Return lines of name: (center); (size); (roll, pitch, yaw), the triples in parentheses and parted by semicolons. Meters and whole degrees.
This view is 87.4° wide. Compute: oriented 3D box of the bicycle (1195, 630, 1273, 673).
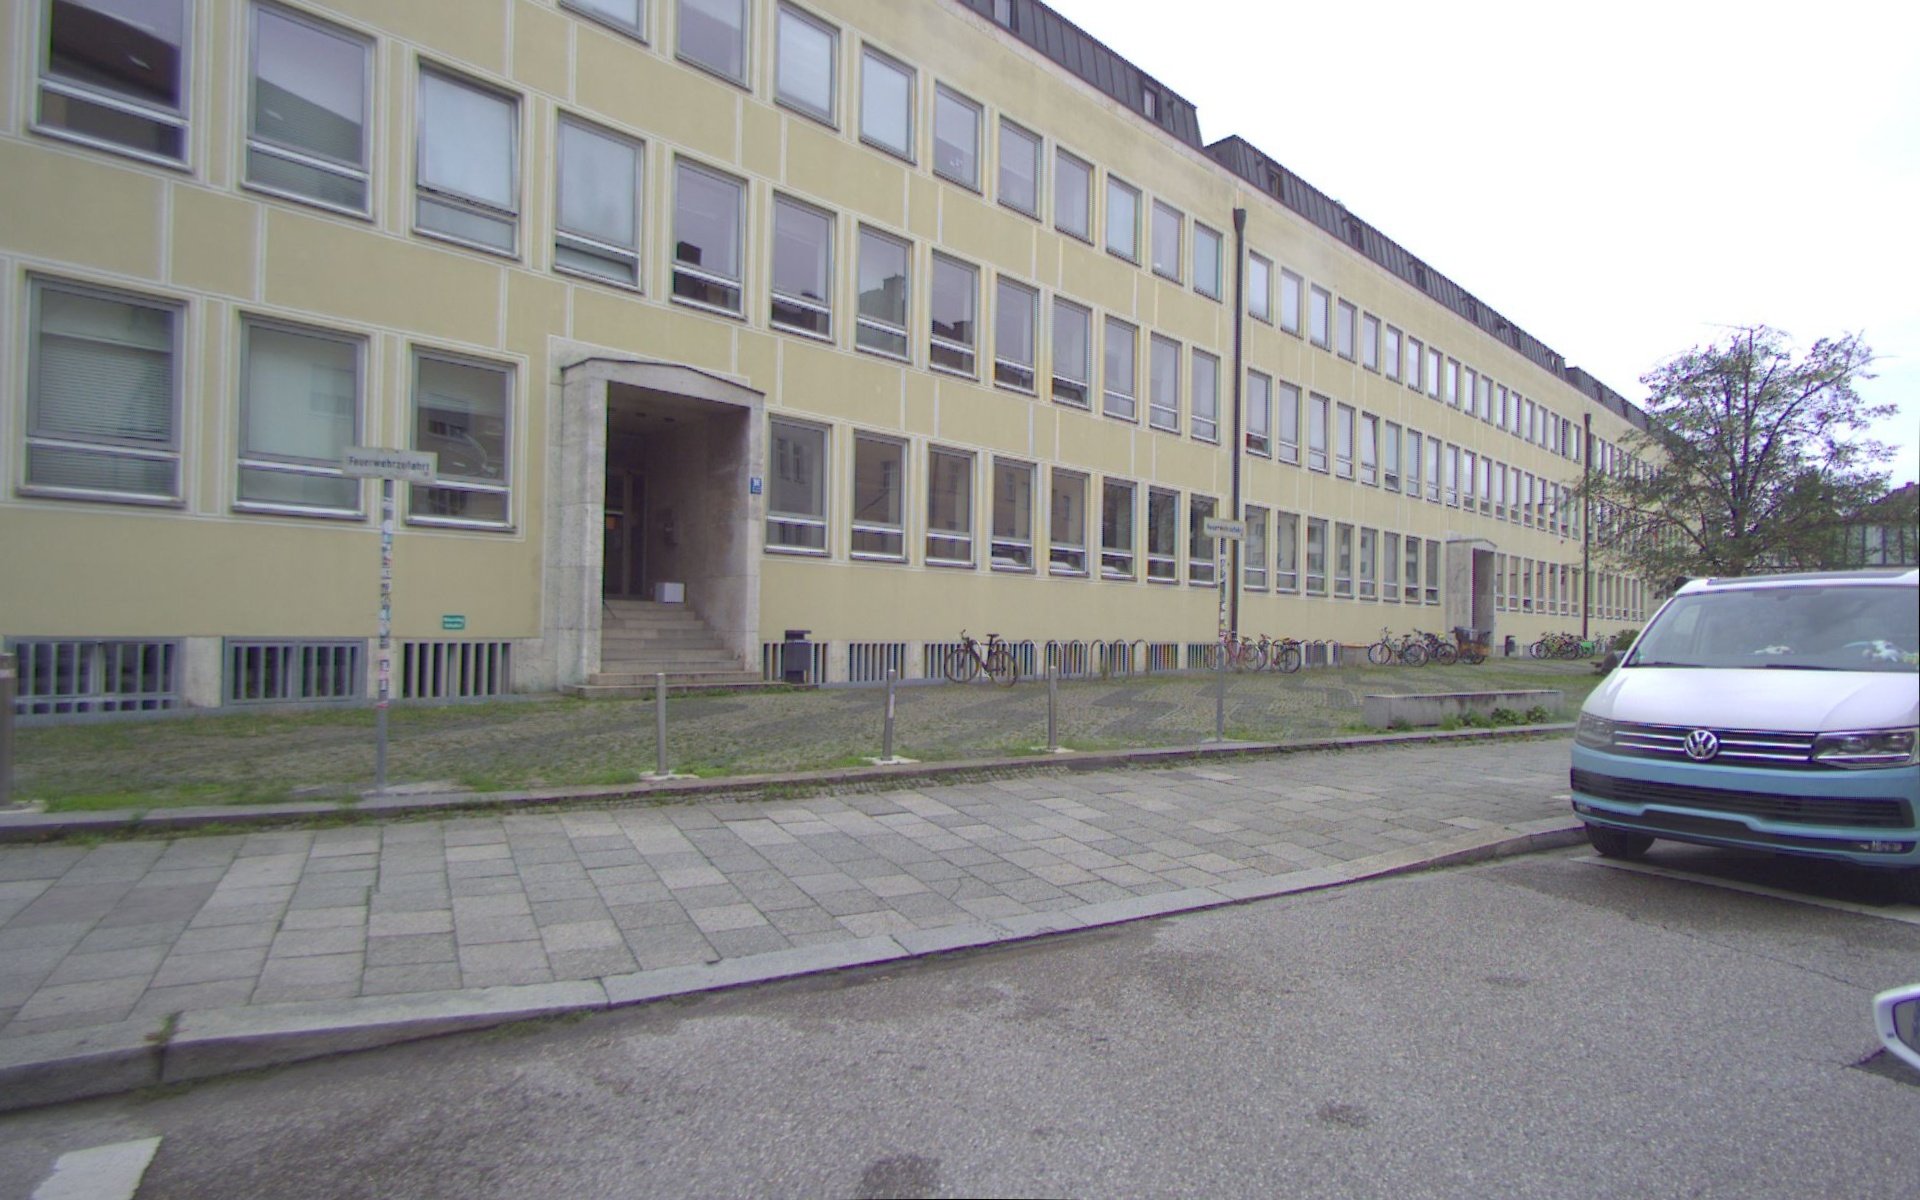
bicycle: (6.945, 1.289, 25.541); (0.620, 1.028, 1.931); (2, -1, -39)

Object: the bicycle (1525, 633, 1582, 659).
bicycle: (24.715, 1.908, 41.862); (0.620, 1.028, 1.930); (2, -1, -40)

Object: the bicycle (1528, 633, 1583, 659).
bicycle: (25.206, 1.956, 42.535); (0.621, 1.028, 1.928); (2, -1, -43)

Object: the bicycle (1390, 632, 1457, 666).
bicycle: (15.372, 1.610, 33.321); (1.926, 1.028, 0.622); (0, -1, 44)

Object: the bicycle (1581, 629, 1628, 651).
bicycle: (32.372, 2.013, 50.474); (0.619, 1.028, 1.933); (1, -1, -36)

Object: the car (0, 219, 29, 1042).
car: (-4.891, 0.104, 0.803); (5.584, 2.680, 2.288); (2, -2, -29)

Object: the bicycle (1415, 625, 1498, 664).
bicycle: (17.312, 1.525, 35.063); (2.408, 1.265, 1.050); (0, -1, 44)

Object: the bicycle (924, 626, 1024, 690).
bicycle: (0.227, 1.033, 18.341); (1.925, 1.028, 0.578); (2, 0, 43)

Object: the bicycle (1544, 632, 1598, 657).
bicycle: (27.053, 1.946, 44.495); (0.621, 1.028, 1.928); (2, -1, -43)

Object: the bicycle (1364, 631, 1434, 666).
bicycle: (13.769, 1.512, 31.564); (1.926, 1.028, 0.622); (0, -1, 44)

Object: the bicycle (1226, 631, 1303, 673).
bicycle: (8.008, 1.355, 26.491); (0.620, 1.028, 1.931); (2, -1, -39)

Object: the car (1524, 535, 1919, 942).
car: (6.290, 0.780, 7.133); (4.969, 2.005, 1.917); (2, -3, -33)

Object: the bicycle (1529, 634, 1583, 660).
bicycle: (25.859, 2.035, 43.631); (0.621, 1.028, 1.928); (2, -1, -43)

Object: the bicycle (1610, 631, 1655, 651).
bicycle: (36.846, 2.229, 55.052); (0.620, 1.028, 1.930); (2, -1, -40)

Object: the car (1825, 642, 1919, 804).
car: (10.256, 1.155, 9.702); (3.872, 1.406, 1.735); (2, 0, -30)
